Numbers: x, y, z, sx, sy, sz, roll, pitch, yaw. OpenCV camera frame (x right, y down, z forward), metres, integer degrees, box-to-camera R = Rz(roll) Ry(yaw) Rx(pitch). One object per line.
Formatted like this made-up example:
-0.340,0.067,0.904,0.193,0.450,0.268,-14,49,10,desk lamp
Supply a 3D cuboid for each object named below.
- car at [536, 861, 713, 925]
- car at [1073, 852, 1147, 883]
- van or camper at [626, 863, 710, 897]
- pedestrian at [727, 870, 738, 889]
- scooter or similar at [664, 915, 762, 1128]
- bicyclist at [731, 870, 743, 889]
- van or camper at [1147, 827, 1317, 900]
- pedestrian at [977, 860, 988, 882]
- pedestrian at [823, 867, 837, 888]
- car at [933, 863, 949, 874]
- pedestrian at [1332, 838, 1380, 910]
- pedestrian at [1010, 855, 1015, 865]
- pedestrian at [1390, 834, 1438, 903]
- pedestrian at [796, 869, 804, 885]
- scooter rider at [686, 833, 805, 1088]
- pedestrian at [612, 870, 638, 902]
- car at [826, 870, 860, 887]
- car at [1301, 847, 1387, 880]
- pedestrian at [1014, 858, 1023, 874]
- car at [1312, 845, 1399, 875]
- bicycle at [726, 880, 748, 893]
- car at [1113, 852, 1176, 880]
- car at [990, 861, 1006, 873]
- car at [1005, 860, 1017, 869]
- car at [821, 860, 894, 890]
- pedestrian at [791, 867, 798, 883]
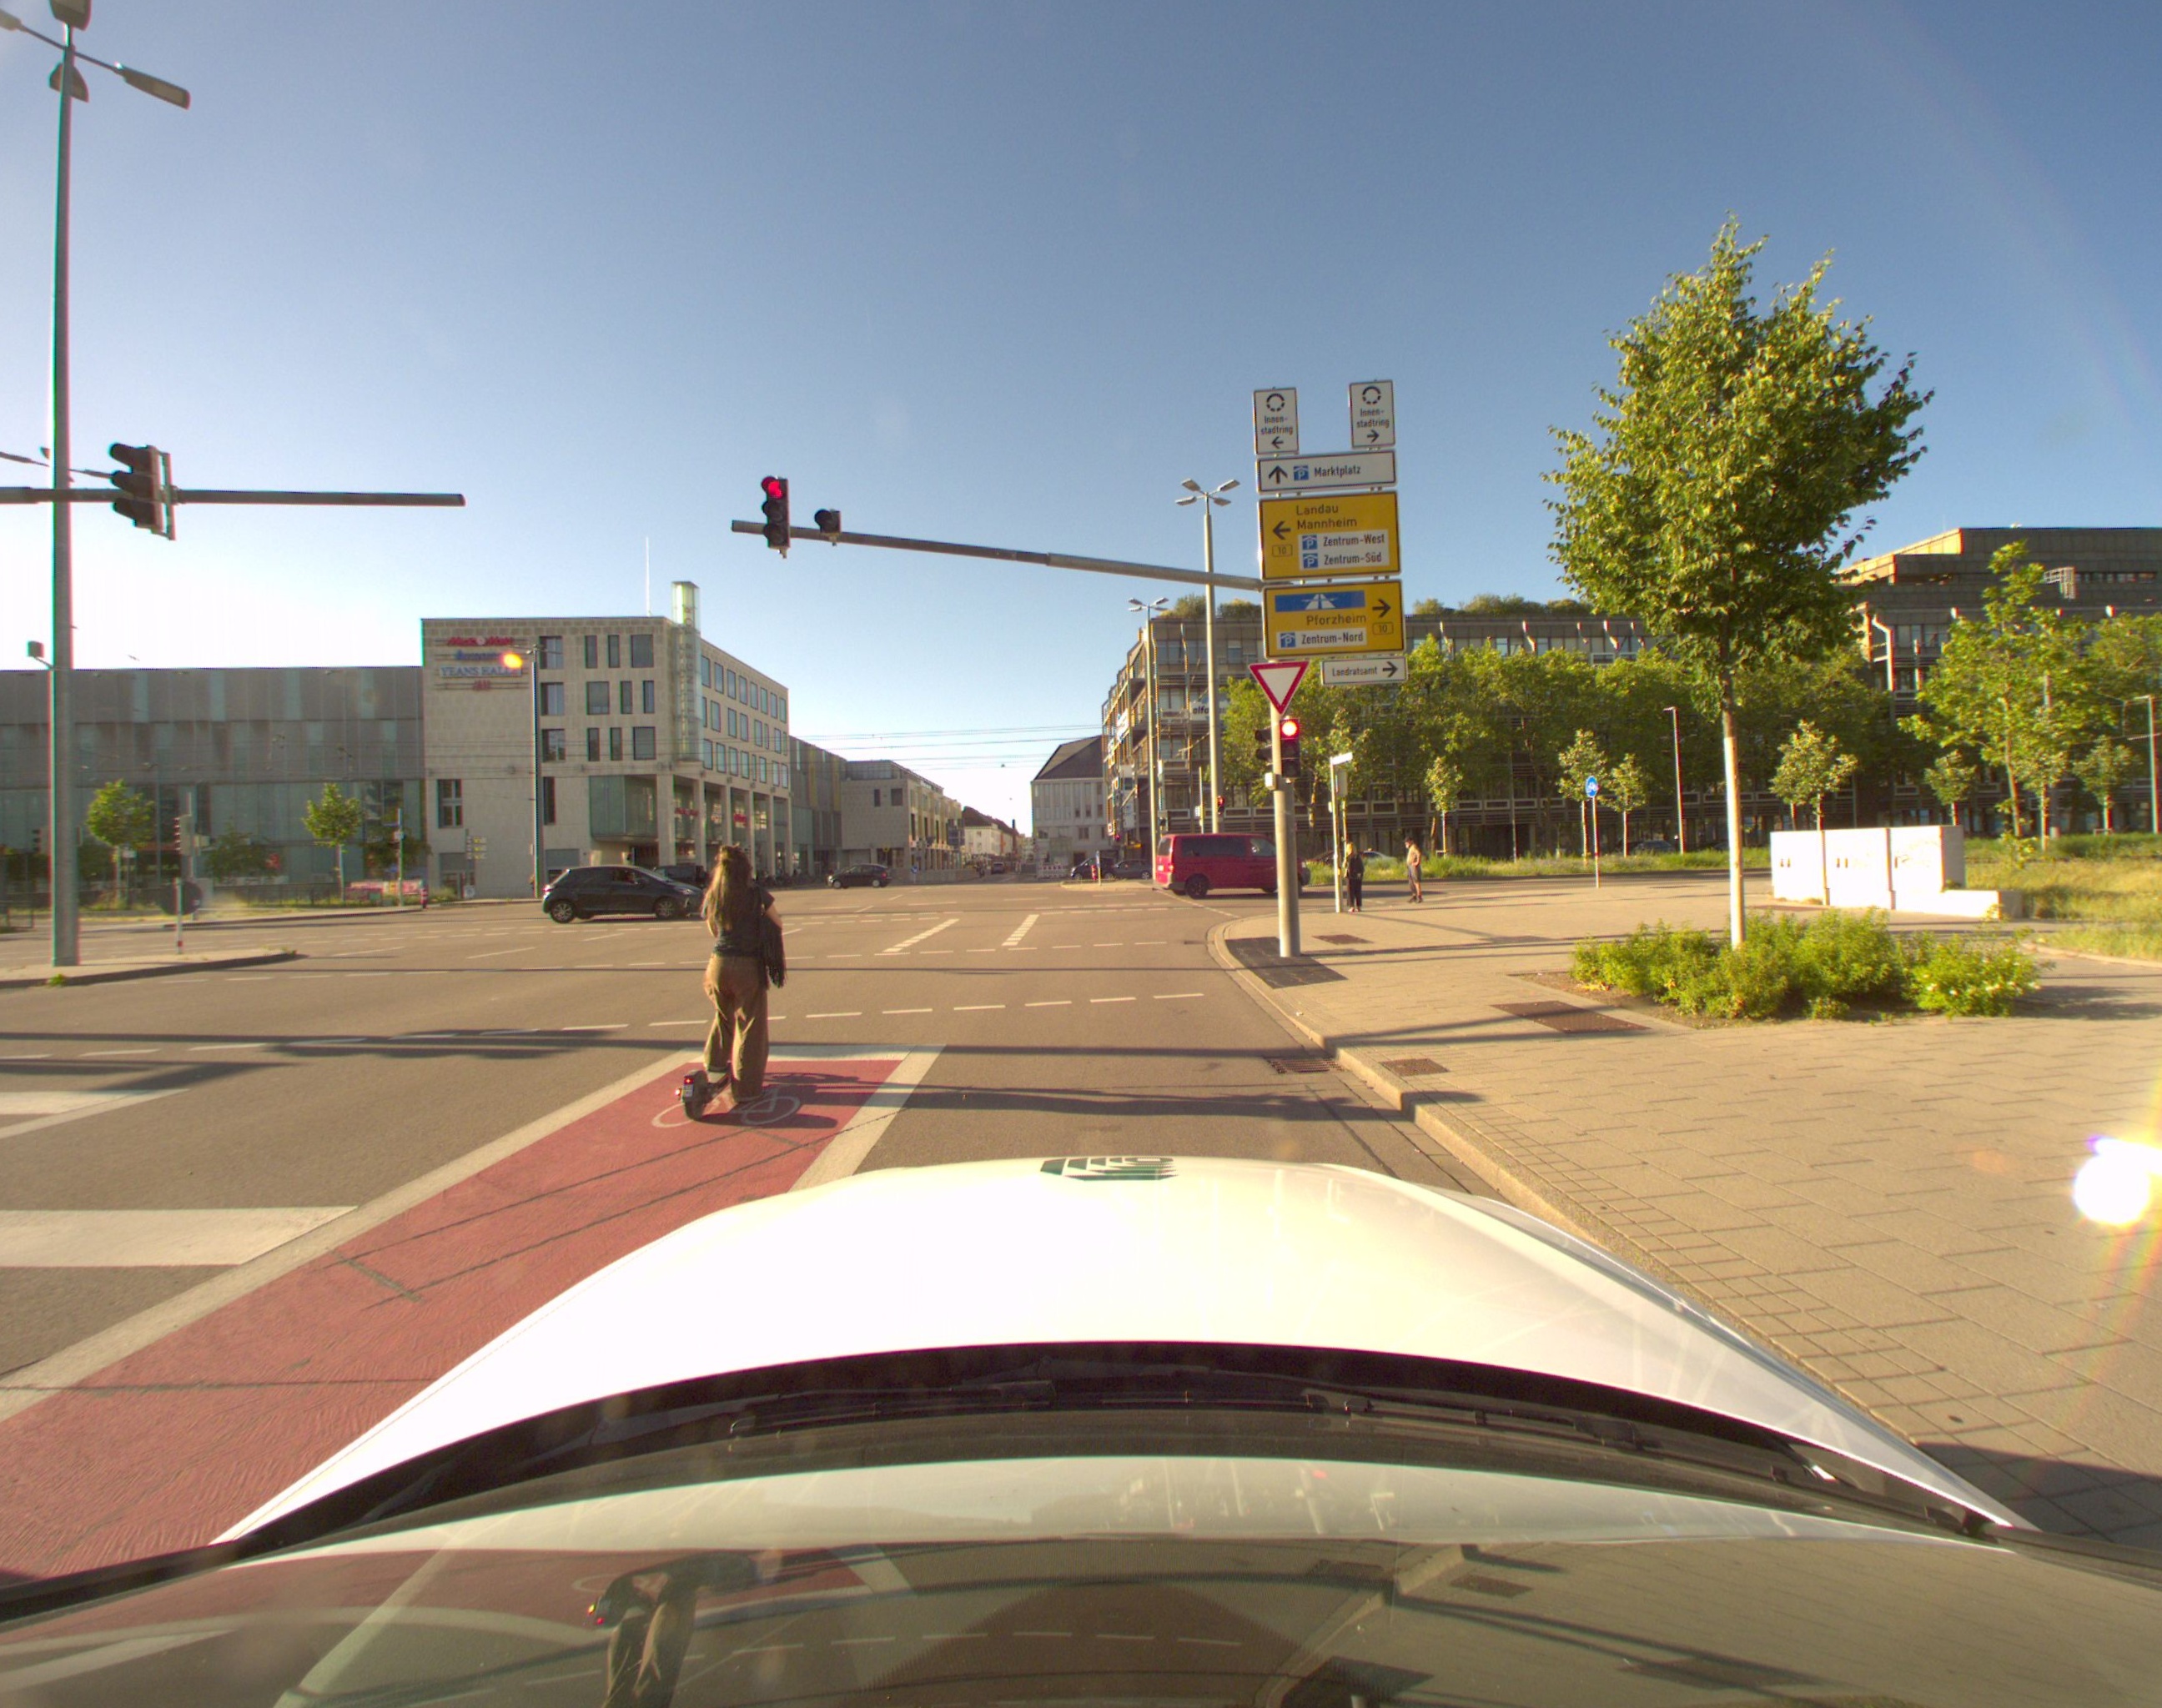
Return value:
-12.365,1.019,22.293,3.865,1.510,1.664,-2,0,-13,car
1.742,0.804,50.099,4.392,1.684,1.824,-2,0,-2,car
-26.810,1.685,52.984,4.404,2.013,1.993,-2,0,-3,van or camper
-29.959,2.186,69.941,0.590,1.646,0.629,-2,0,1,pedestrian
-2.209,0.956,4.945,0.306,1.107,0.835,-2,0,-9,scooter or similar
-26.276,1.953,62.186,0.623,1.448,0.589,-2,0,3,bicyclist
4.683,0.275,25.563,4.830,2.013,1.999,-2,0,-12,van or camper
-7.711,1.302,64.040,0.697,1.688,0.620,-2,0,2,pedestrian
-19.653,1.837,63.789,0.771,1.638,0.628,-2,0,13,pedestrian
-20.987,2.170,122.400,1.652,1.458,3.543,-2,0,2,car
6.373,0.447,18.915,0.763,1.614,0.874,-2,0,0,pedestrian
-13.903,1.196,165.265,0.907,1.965,0.823,0,-1,1,pedestrian
8.623,0.370,21.124,0.869,1.706,0.768,-2,0,0,pedestrian
-30.131,2.434,87.237,0.465,1.729,0.699,-1,-1,40,pedestrian
-2.121,0.645,5.196,0.552,1.530,0.448,-2,0,-7,scooter rider
-25.137,1.765,44.913,0.821,1.675,1.004,-2,0,-2,pedestrian
-20.540,2.092,70.531,1.670,1.357,4.021,-2,0,1,car
14.900,0.519,46.277,4.287,1.684,1.820,-2,0,-9,car
-7.166,1.329,93.474,0.896,1.782,0.809,-2,0,1,pedestrian
17.241,0.362,51.261,4.831,1.684,1.824,-2,0,-2,car
-26.223,2.488,62.095,0.633,0.903,2.220,-2,0,3,bicycle
4.134,0.758,53.548,3.976,1.684,1.824,-2,0,-2,car
-11.017,1.754,108.531,1.652,1.458,3.543,-2,0,2,car
-12.562,1.875,146.313,1.652,1.458,3.543,-2,0,2,car
-13.743,1.261,50.239,3.973,1.684,1.761,-2,0,0,car
-31.696,2.314,90.010,0.465,1.729,0.524,-1,-1,40,pedestrian
